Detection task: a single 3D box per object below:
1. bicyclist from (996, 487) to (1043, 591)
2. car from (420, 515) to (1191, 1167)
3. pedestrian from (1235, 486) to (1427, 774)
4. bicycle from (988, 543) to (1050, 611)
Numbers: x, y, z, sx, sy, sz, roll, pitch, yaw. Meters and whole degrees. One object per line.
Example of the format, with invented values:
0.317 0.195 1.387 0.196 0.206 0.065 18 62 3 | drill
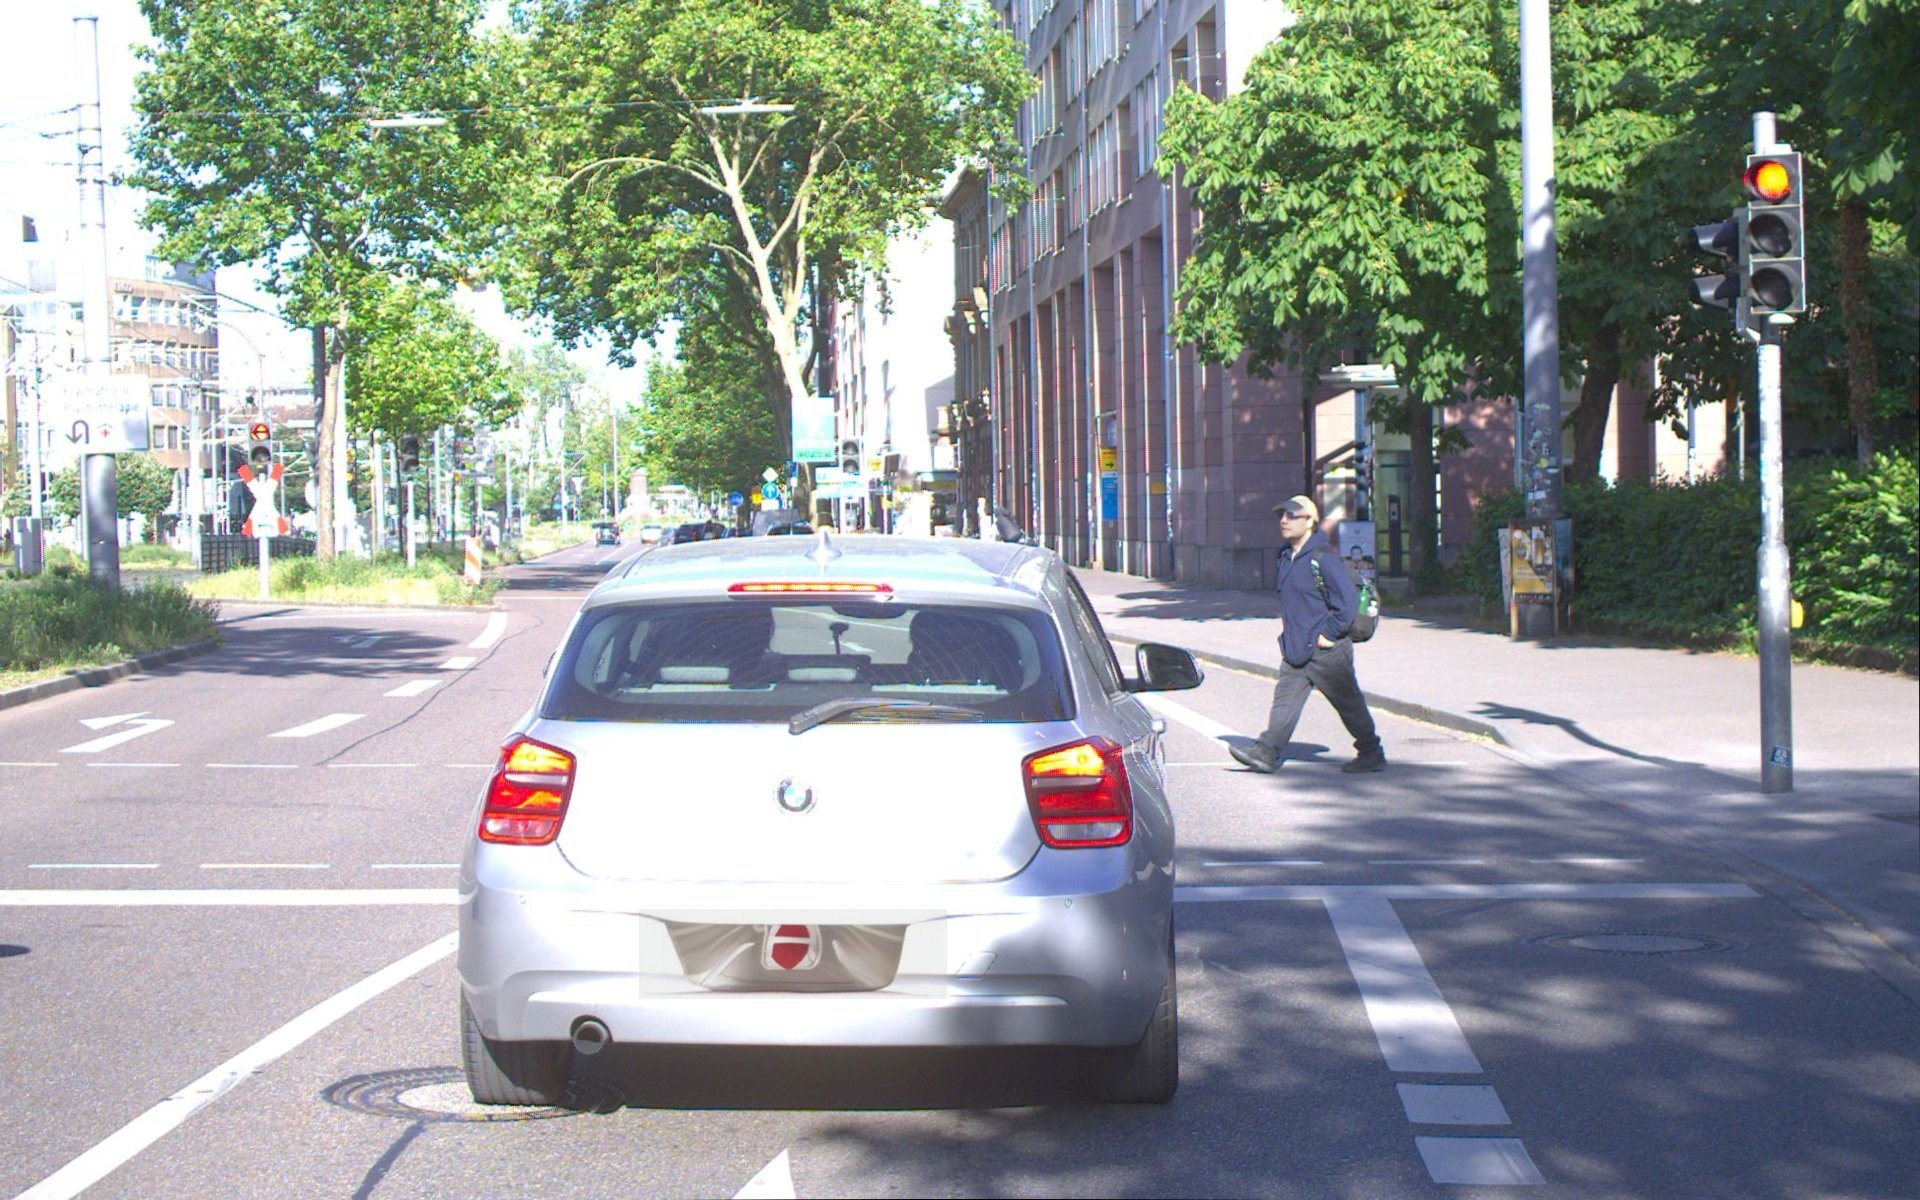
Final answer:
0.962 -0.994 55.533 0.658 1.651 0.765 -1 1 5 | bicyclist
-0.252 0.491 9.636 1.730 1.385 3.840 1 2 3 | car
2.128 0.158 19.782 0.940 1.623 0.629 0 1 -13 | pedestrian
0.962 -0.382 55.527 0.831 1.038 1.874 -2 2 5 | bicycle
